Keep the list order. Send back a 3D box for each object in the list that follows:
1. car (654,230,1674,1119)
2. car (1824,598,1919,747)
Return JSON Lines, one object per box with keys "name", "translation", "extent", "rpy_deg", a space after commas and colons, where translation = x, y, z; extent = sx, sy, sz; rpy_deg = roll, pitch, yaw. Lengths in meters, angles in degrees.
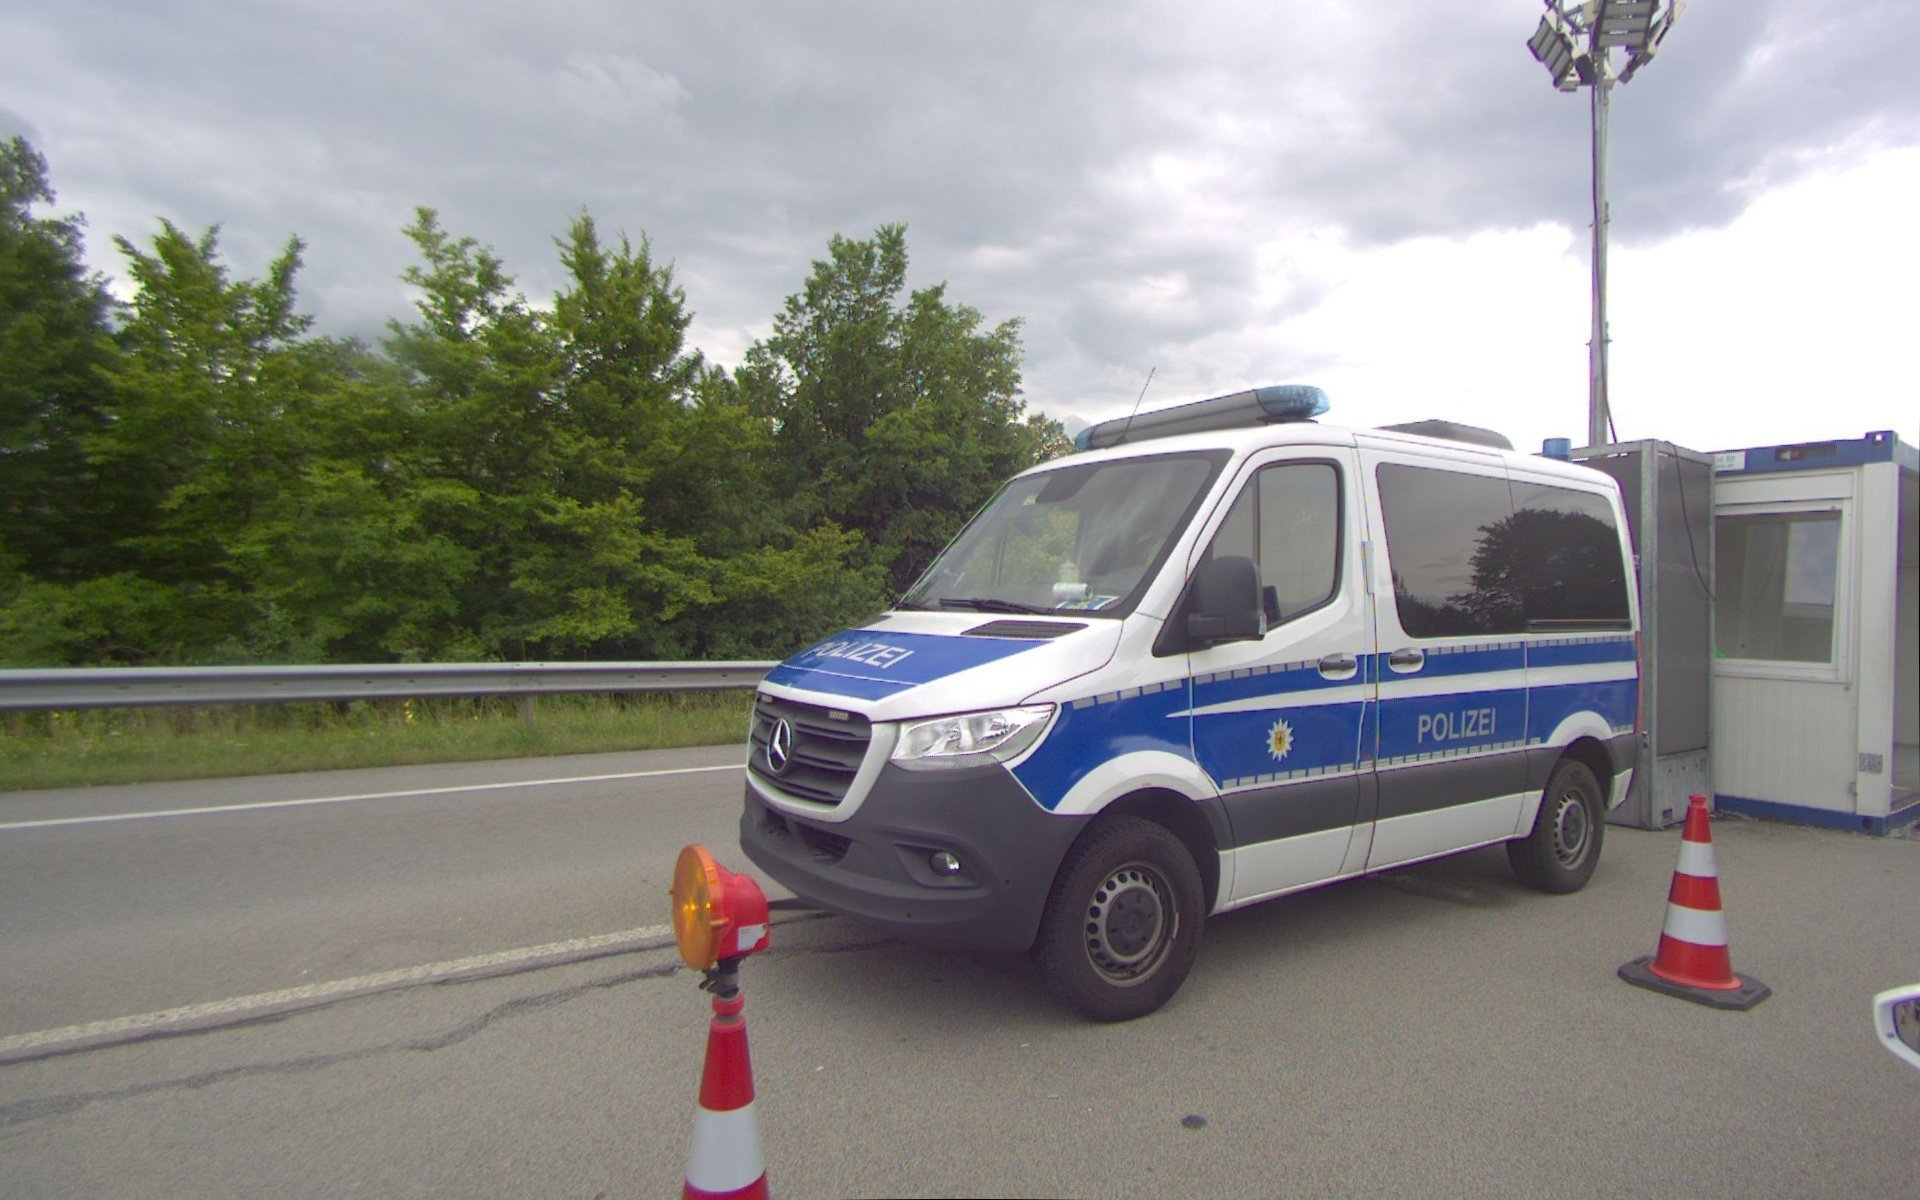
{"name": "car", "translation": [1.358, 0.255, 5.136], "extent": [5.225, 2.496, 2.016], "rpy_deg": [1, 0, -34]}
{"name": "car", "translation": [13.124, 0.911, 13.099], "extent": [3.967, 1.767, 1.857], "rpy_deg": [1, 0, -35]}
